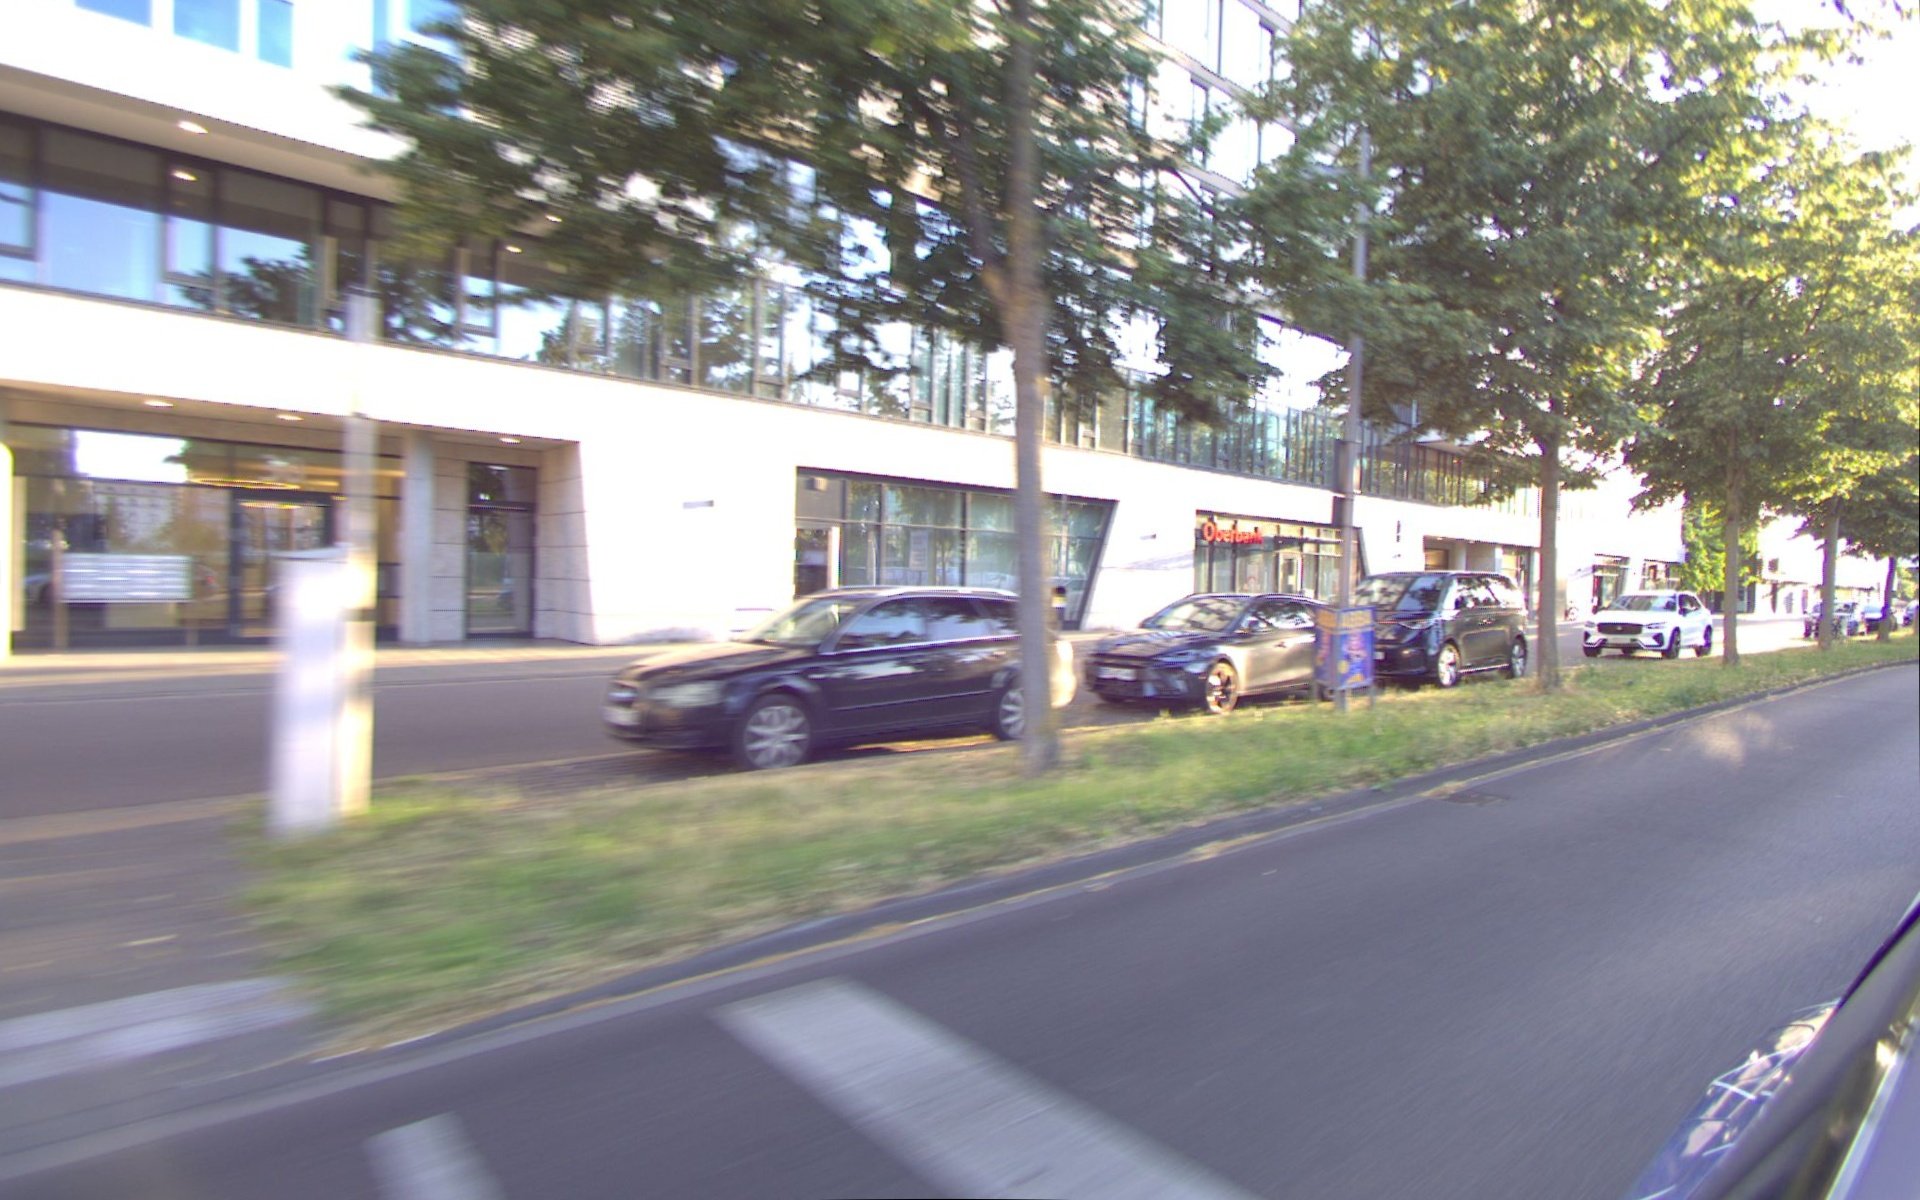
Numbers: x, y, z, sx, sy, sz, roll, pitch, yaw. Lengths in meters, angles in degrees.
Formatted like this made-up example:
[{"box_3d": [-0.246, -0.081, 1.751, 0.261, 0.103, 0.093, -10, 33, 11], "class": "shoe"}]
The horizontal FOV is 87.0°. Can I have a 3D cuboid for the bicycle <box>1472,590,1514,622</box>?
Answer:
[{"box_3d": [18.504, 0.200, 35.122, 1.859, 1.052, 0.596, 0, 2, -40], "class": "bicycle"}]

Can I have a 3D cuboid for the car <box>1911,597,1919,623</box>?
[{"box_3d": [58.477, 0.570, 60.623, 3.929, 1.513, 1.783, 0, -1, -41], "class": "car"}]

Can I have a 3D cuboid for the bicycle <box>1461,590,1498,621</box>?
[{"box_3d": [18.346, 0.197, 35.734, 1.774, 1.052, 0.471, 0, 2, -40], "class": "bicycle"}]

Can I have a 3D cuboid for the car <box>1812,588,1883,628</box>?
[{"box_3d": [35.975, 0.320, 41.009, 3.694, 1.534, 1.712, 0, 0, -42], "class": "car"}]

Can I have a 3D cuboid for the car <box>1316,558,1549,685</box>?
[{"box_3d": [8.154, 0.275, 17.268, 4.586, 1.875, 1.996, 0, 2, -43], "class": "car"}]

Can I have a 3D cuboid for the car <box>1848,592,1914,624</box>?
[{"box_3d": [43.074, 0.336, 47.273, 4.752, 1.384, 1.855, -1, 2, -43], "class": "car"}]

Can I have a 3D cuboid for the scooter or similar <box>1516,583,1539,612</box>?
[{"box_3d": [25.160, -0.113, 44.850, 1.207, 1.226, 0.473, 0, 2, -39], "class": "scooter or similar"}]

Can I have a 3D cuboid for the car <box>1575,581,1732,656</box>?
[{"box_3d": [17.412, 0.390, 25.315, 4.791, 1.663, 1.998, 0, 2, -40], "class": "car"}]

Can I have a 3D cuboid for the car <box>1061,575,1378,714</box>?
[{"box_3d": [3.538, 0.461, 13.278, 4.586, 1.489, 1.812, 0, 2, -43], "class": "car"}]

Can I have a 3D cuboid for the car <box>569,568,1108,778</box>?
[{"box_3d": [-0.911, 0.476, 9.171, 4.563, 1.428, 1.873, 0, 2, -40], "class": "car"}]

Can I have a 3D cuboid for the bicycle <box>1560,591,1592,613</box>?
[{"box_3d": [29.627, 0.083, 48.673, 1.364, 1.040, 0.456, 1, 1, -14], "class": "bicycle"}]

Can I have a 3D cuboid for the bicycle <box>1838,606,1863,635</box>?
[{"box_3d": [26.735, 0.615, 30.380, 1.524, 0.833, 0.316, 0, 2, -40], "class": "bicycle"}]
